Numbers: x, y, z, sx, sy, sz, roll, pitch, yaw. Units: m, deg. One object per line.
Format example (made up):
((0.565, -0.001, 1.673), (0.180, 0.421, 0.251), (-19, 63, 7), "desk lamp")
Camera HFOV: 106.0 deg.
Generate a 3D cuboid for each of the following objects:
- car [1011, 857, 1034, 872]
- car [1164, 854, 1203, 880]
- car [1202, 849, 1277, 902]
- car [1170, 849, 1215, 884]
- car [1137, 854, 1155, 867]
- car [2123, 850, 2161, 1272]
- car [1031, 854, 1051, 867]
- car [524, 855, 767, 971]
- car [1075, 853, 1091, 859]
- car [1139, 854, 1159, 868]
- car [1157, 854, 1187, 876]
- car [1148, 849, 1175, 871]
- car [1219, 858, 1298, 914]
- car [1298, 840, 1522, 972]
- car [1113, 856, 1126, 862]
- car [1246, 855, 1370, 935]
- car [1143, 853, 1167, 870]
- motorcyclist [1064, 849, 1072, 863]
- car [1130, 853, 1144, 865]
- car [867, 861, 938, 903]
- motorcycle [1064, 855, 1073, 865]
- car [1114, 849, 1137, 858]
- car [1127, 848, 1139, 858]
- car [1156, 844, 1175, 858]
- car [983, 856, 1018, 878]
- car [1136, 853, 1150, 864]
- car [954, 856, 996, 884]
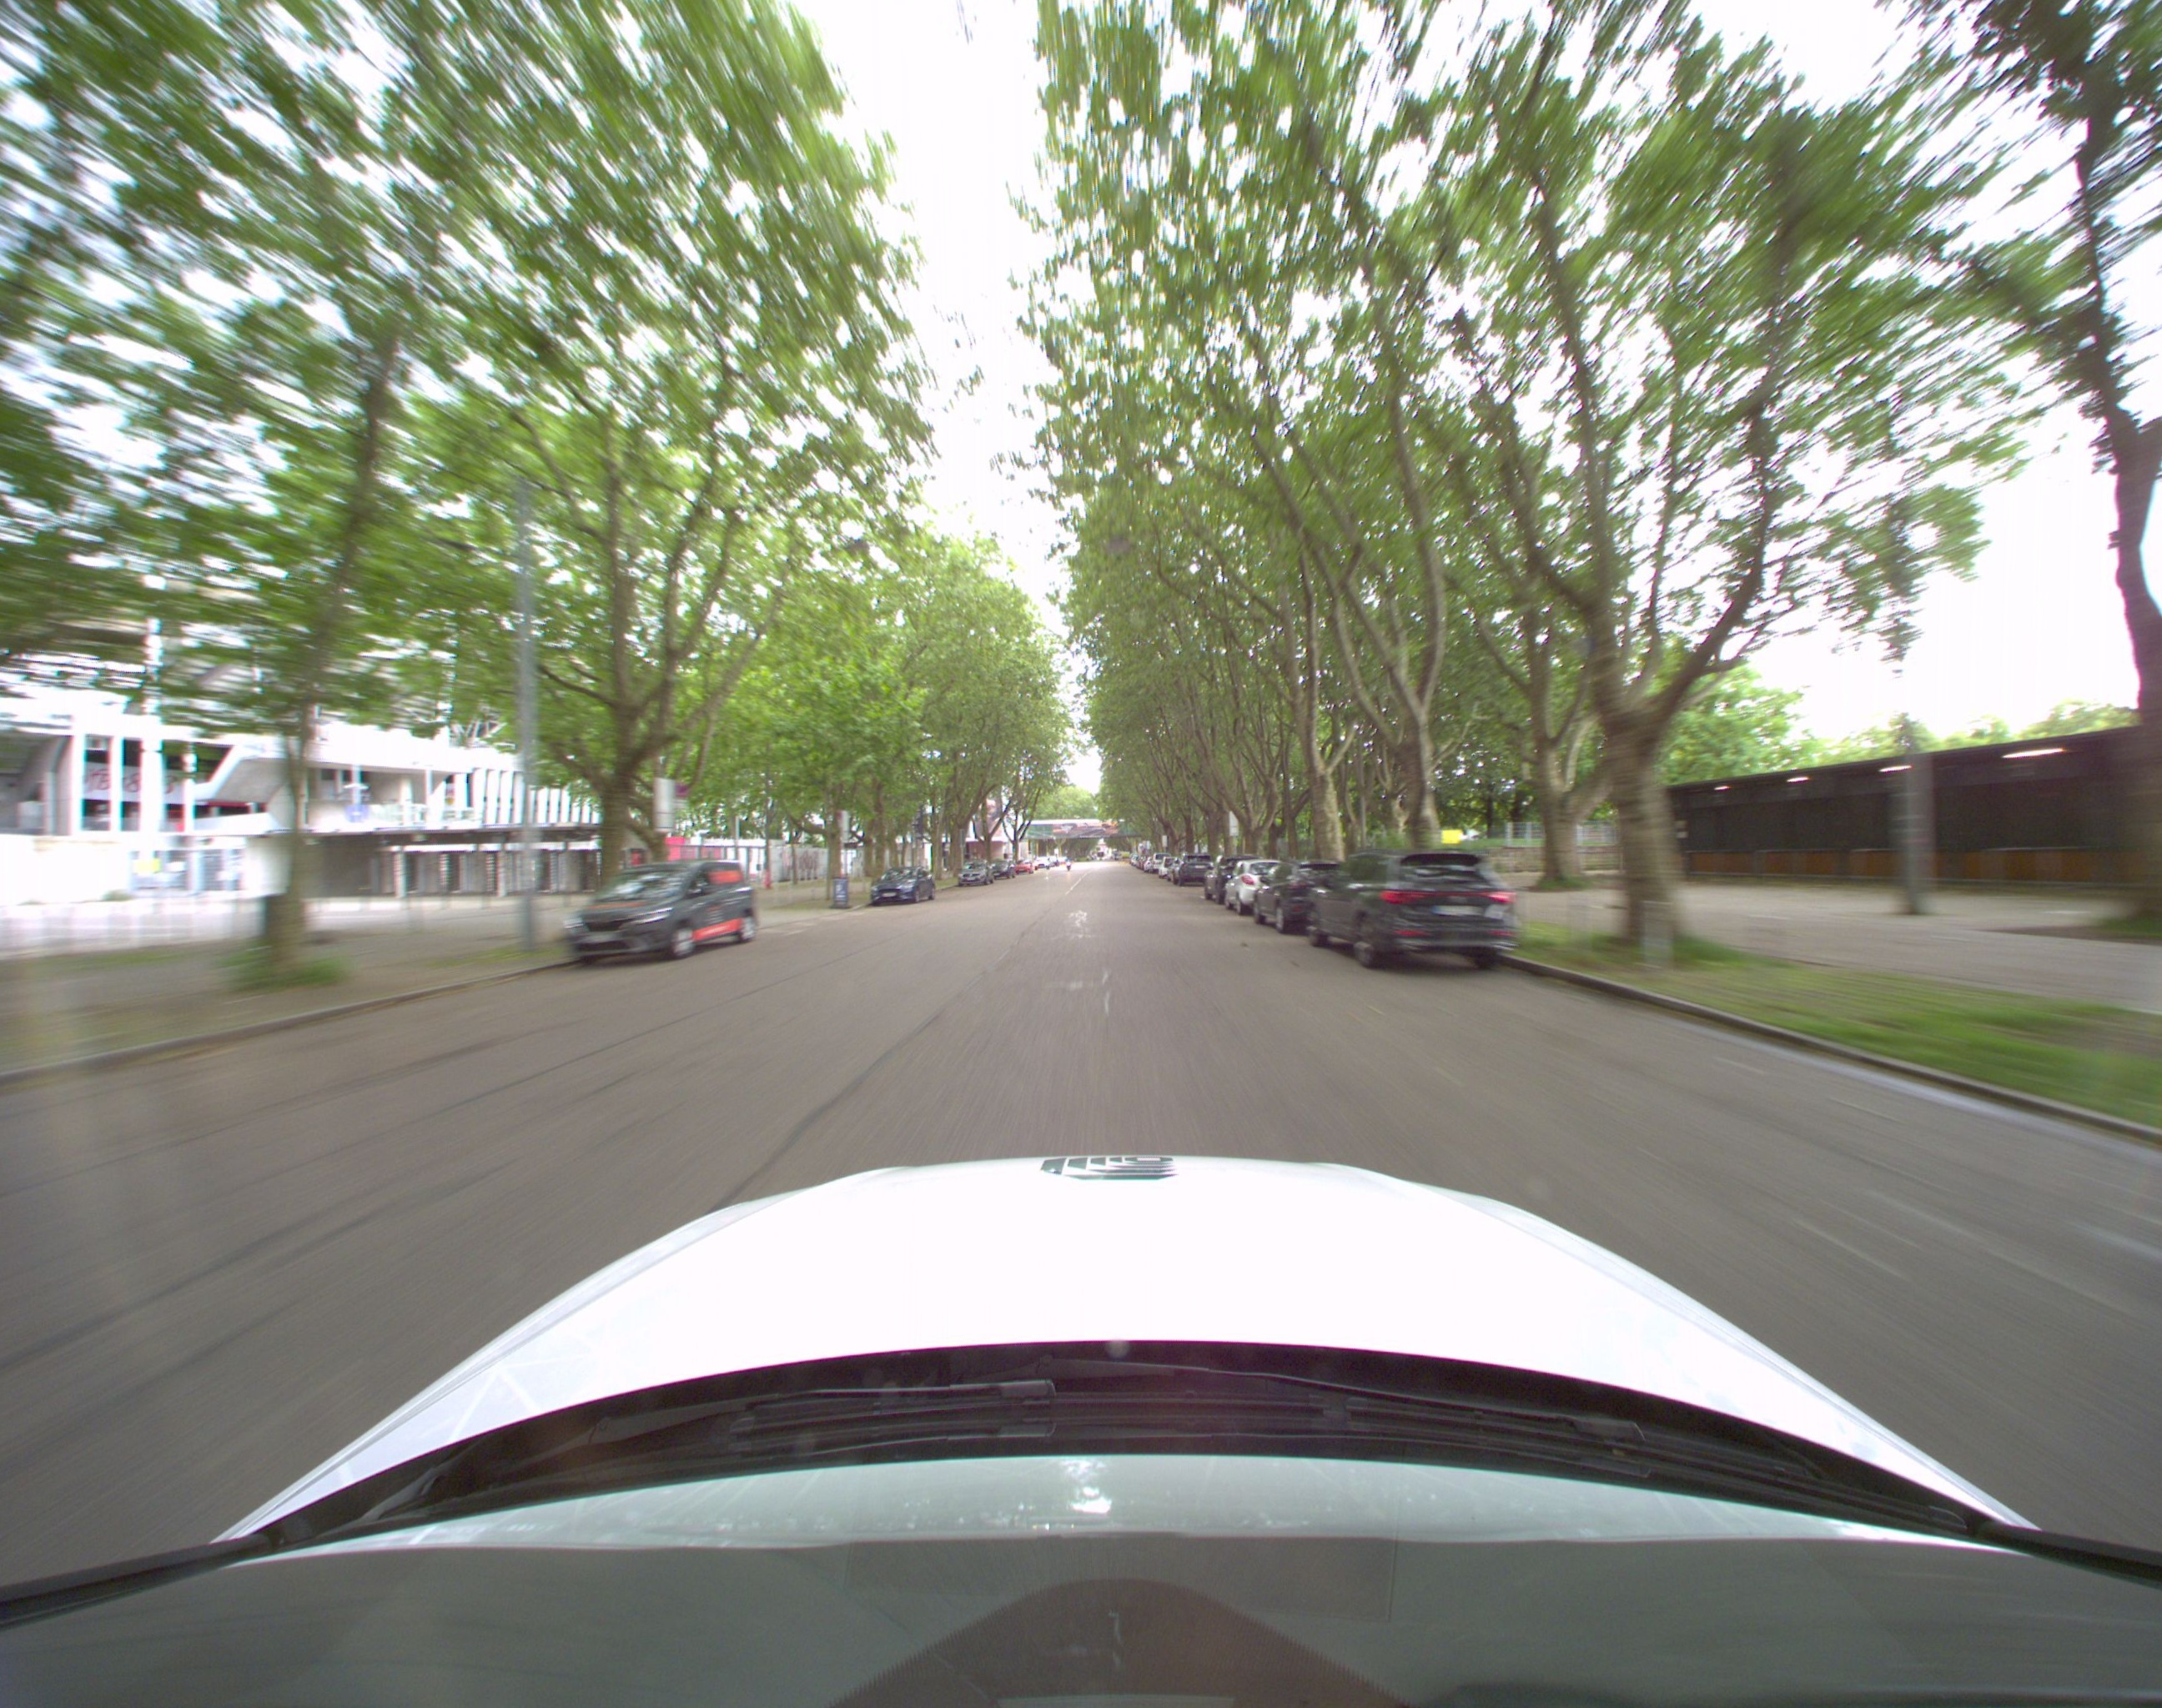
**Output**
((-5.754, 0.982, 79.958), (1.801, 1.354, 4.002), (-1, 0, 2), "car")
((5.938, 0.743, 47.472), (1.702, 1.415, 4.360), (0, 0, -1), "car")
((5.405, 0.690, 28.296), (1.771, 1.673, 4.638), (-1, 0, 1), "car")
((5.646, 0.606, 41.704), (1.702, 1.698, 4.630), (0, 0, 0), "car")
((7.255, 0.742, 91.735), (1.869, 1.427, 4.482), (-1, 0, 2), "car")
((4.628, 0.723, 0.614), (1.712, 1.438, 4.625), (1, 0, -2), "car")
((-5.081, 0.808, 104.608), (2.065, 1.563, 4.758), (-1, 0, 2), "car")
((-7.868, 0.954, 15.358), (1.942, 1.750, 4.639), (-3, 0, 1), "car")
((0.662, 0.641, 237.984), (4.681, 1.584, 1.865), (-1, -1, 2), "car")
((7.089, 0.719, 85.062), (1.850, 1.481, 4.179), (-1, 0, 1), "car")
((6.039, 0.702, 54.427), (1.701, 1.427, 3.891), (0, 0, 2), "car")
((6.722, 0.496, 68.151), (1.896, 1.739, 4.508), (-1, 0, 2), "car")
((4.985, 0.854, 23.329), (1.610, 1.441, 3.713), (1, 0, 3), "car")
((4.694, 0.643, 12.385), (1.749, 1.620, 4.441), (1, 0, 2), "car")
((12.012, 1.419, 255.321), (3.973, 1.794, 1.543), (-1, -1, 1), "car")
((4.848, 0.795, 17.969), (1.662, 1.509, 4.356), (1, 0, 2), "car")
((6.672, 0.650, 73.887), (1.870, 1.427, 4.587), (-1, 0, 1), "car")
((-1.391, 0.226, 87.829), (0.868, 1.480, 1.264), (-1, 0, -2), "motorcyclist")
((8.306, 0.740, 120.857), (1.907, 1.618, 4.751), (-1, 0, 2), "car")
((-7.130, 1.087, 32.998), (1.718, 1.486, 4.576), (-1, 0, 2), "car")
((-1.373, 0.646, 87.823), (0.871, 1.079, 3.051), (-1, 0, -2), "motorcycle")
((13.413, -0.188, 247.667), (6.802, 2.513, 2.316), (-1, 0, -1), "car")
((8.718, -0.162, 137.725), (1.840, 1.783, 5.213), (0, 0, 2), "car")
((9.662, -0.369, 93.530), (1.796, 1.555, 4.001), (-1, 0, 1), "car")
((-6.131, 0.963, 62.317), (1.819, 1.465, 4.632), (-2, 0, 4), "car")
((8.558, 0.649, 113.160), (1.800, 1.526, 4.098), (-1, 0, 2), "car")
((-6.543, 0.964, 50.721), (1.871, 1.527, 4.153), (-2, 0, 2), "car")
